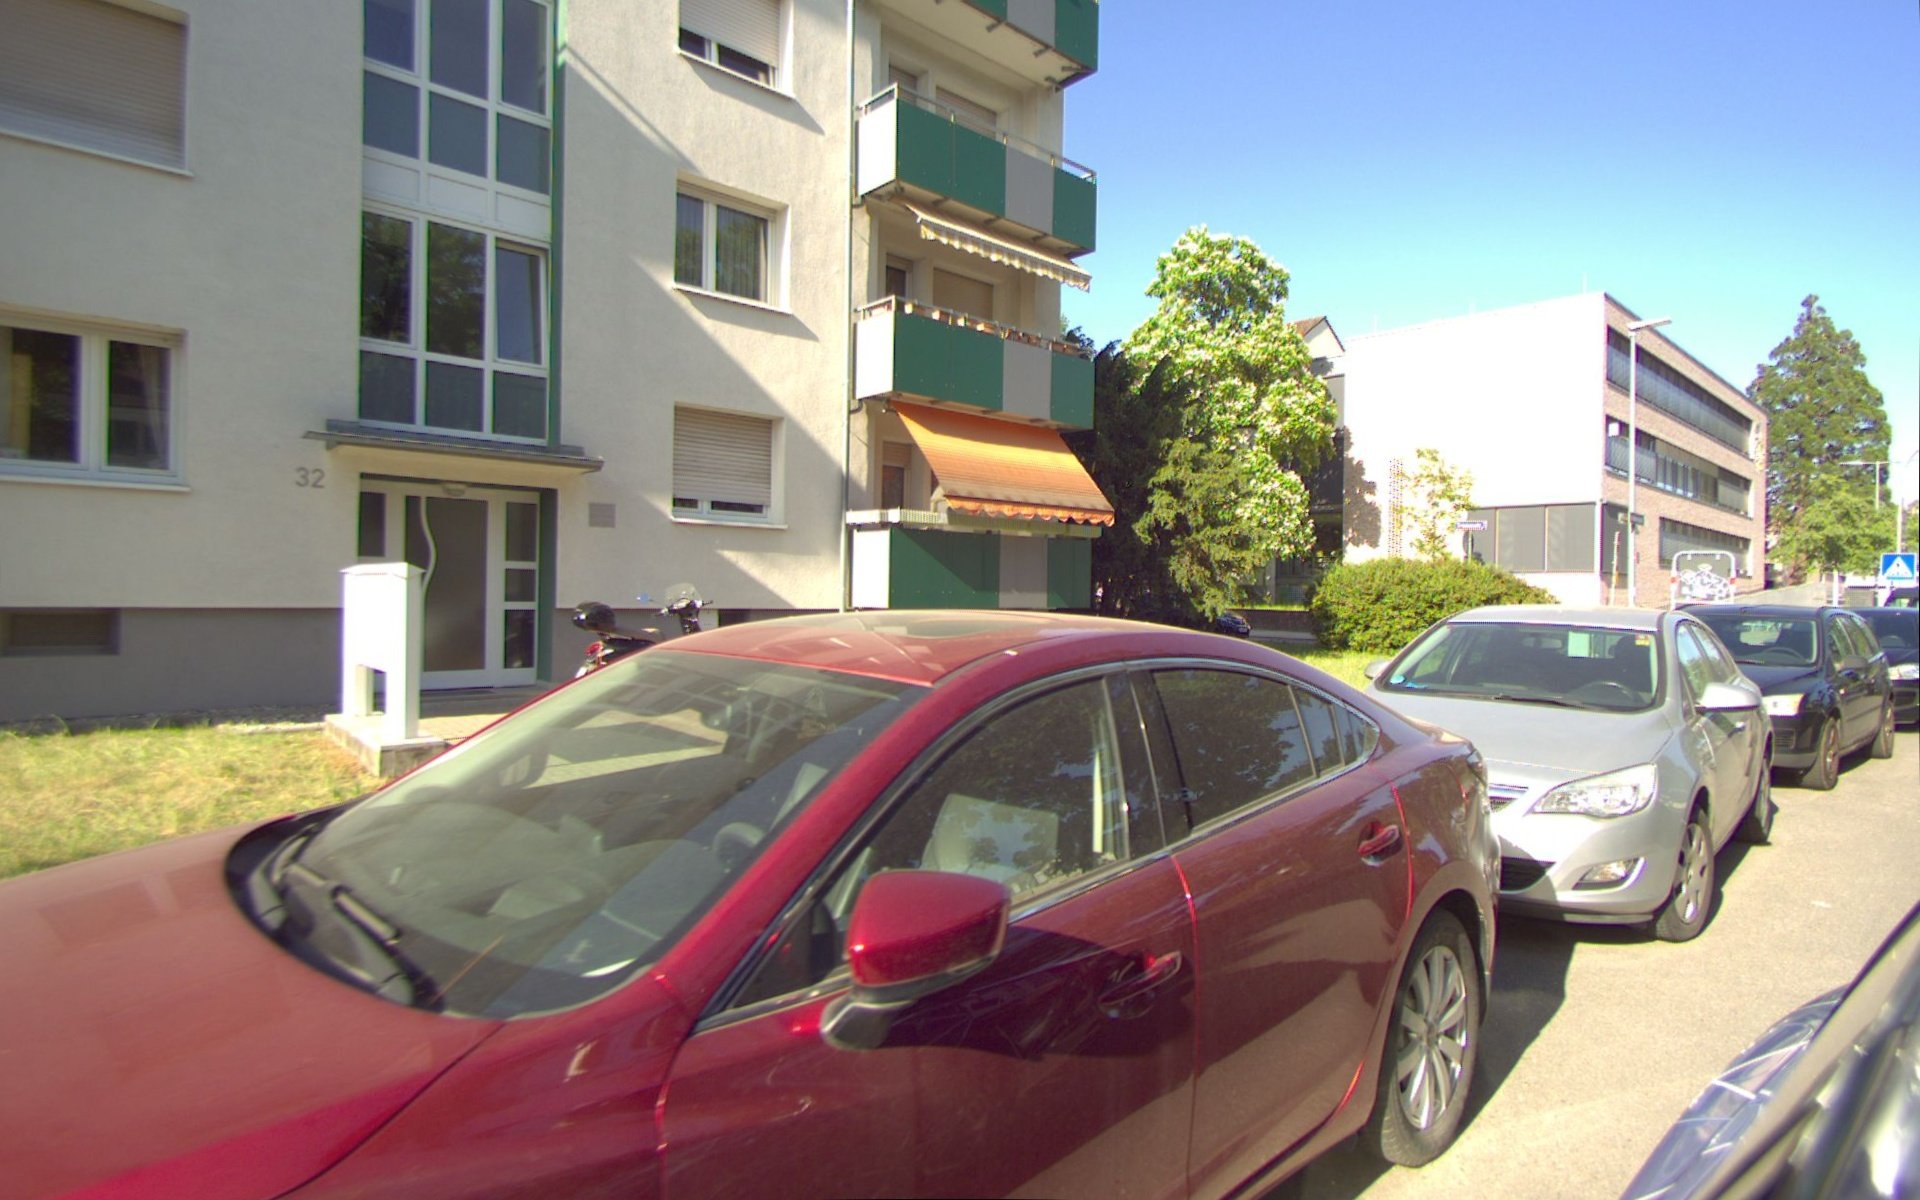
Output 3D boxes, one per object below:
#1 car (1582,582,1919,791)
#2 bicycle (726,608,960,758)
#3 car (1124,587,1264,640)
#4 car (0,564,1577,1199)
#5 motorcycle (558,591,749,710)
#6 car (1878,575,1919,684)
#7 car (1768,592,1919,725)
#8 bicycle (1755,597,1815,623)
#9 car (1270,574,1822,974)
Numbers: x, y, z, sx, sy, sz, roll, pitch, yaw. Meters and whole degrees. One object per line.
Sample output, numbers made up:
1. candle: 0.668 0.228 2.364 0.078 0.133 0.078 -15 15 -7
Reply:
1. car: 7.710 0.627 9.629 4.477 1.549 1.773 0 1 -41
2. bicycle: -0.942 0.630 8.474 1.863 1.091 0.721 0 0 -40
3. car: 7.294 0.371 31.748 1.792 1.530 3.975 0 1 -43
4. car: -0.411 0.703 2.345 4.979 1.491 1.845 0 1 -43
5. motorcycle: -3.260 0.492 10.954 0.582 1.166 2.009 1 1 39
6. car: 16.631 0.513 15.703 1.877 1.812 4.136 1 1 16
7. car: 11.867 0.664 13.044 3.727 1.493 1.661 0 -1 -42
8. bicycle: 38.860 0.444 47.676 0.868 1.076 2.028 0 4 -42
9. car: 3.824 0.656 6.173 1.874 1.553 4.421 1 1 45
